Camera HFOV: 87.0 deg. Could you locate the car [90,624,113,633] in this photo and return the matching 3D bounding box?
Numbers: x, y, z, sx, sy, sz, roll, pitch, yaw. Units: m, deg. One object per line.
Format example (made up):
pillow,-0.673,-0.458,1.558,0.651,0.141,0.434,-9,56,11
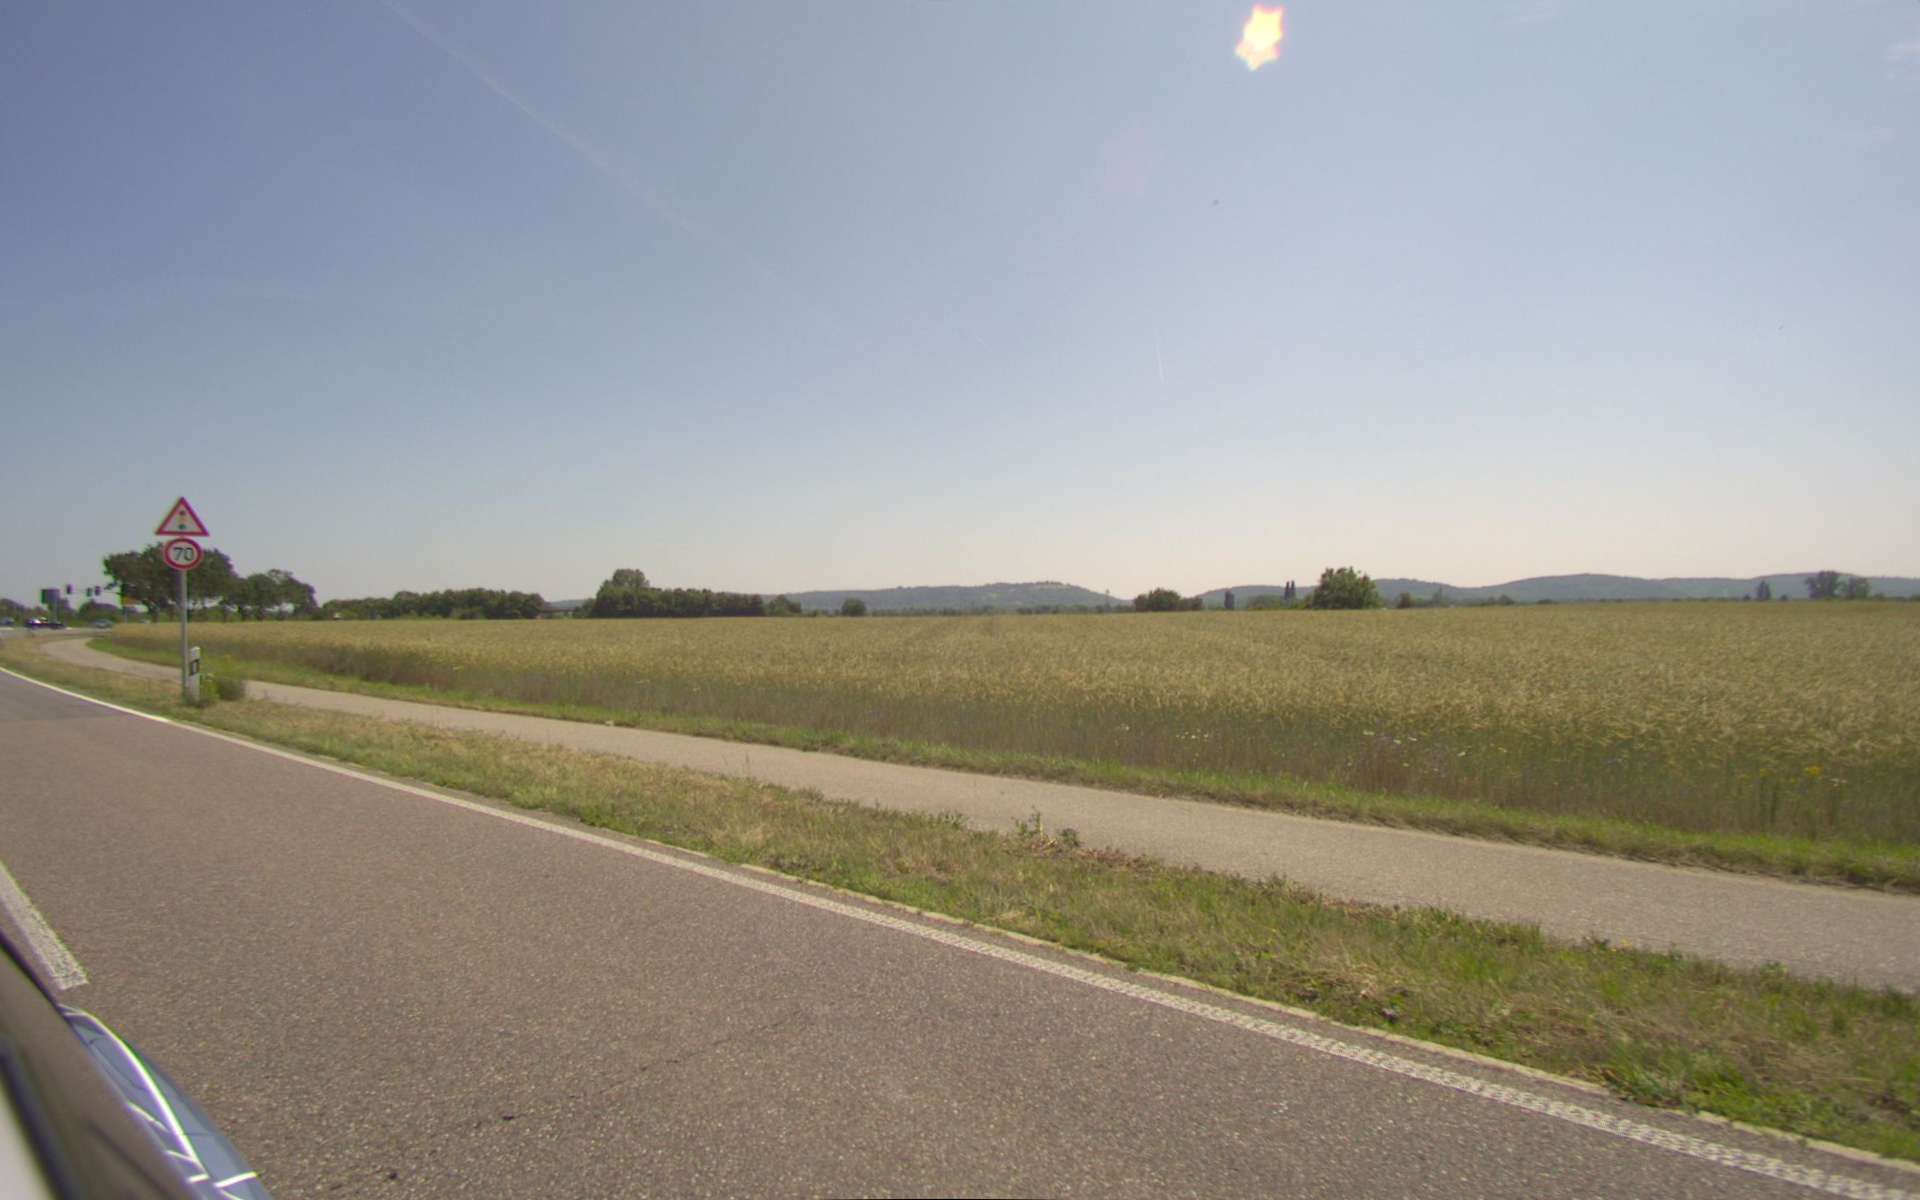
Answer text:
car,-138.968,4.622,163.808,1.629,1.578,4.013,1,-2,-22
